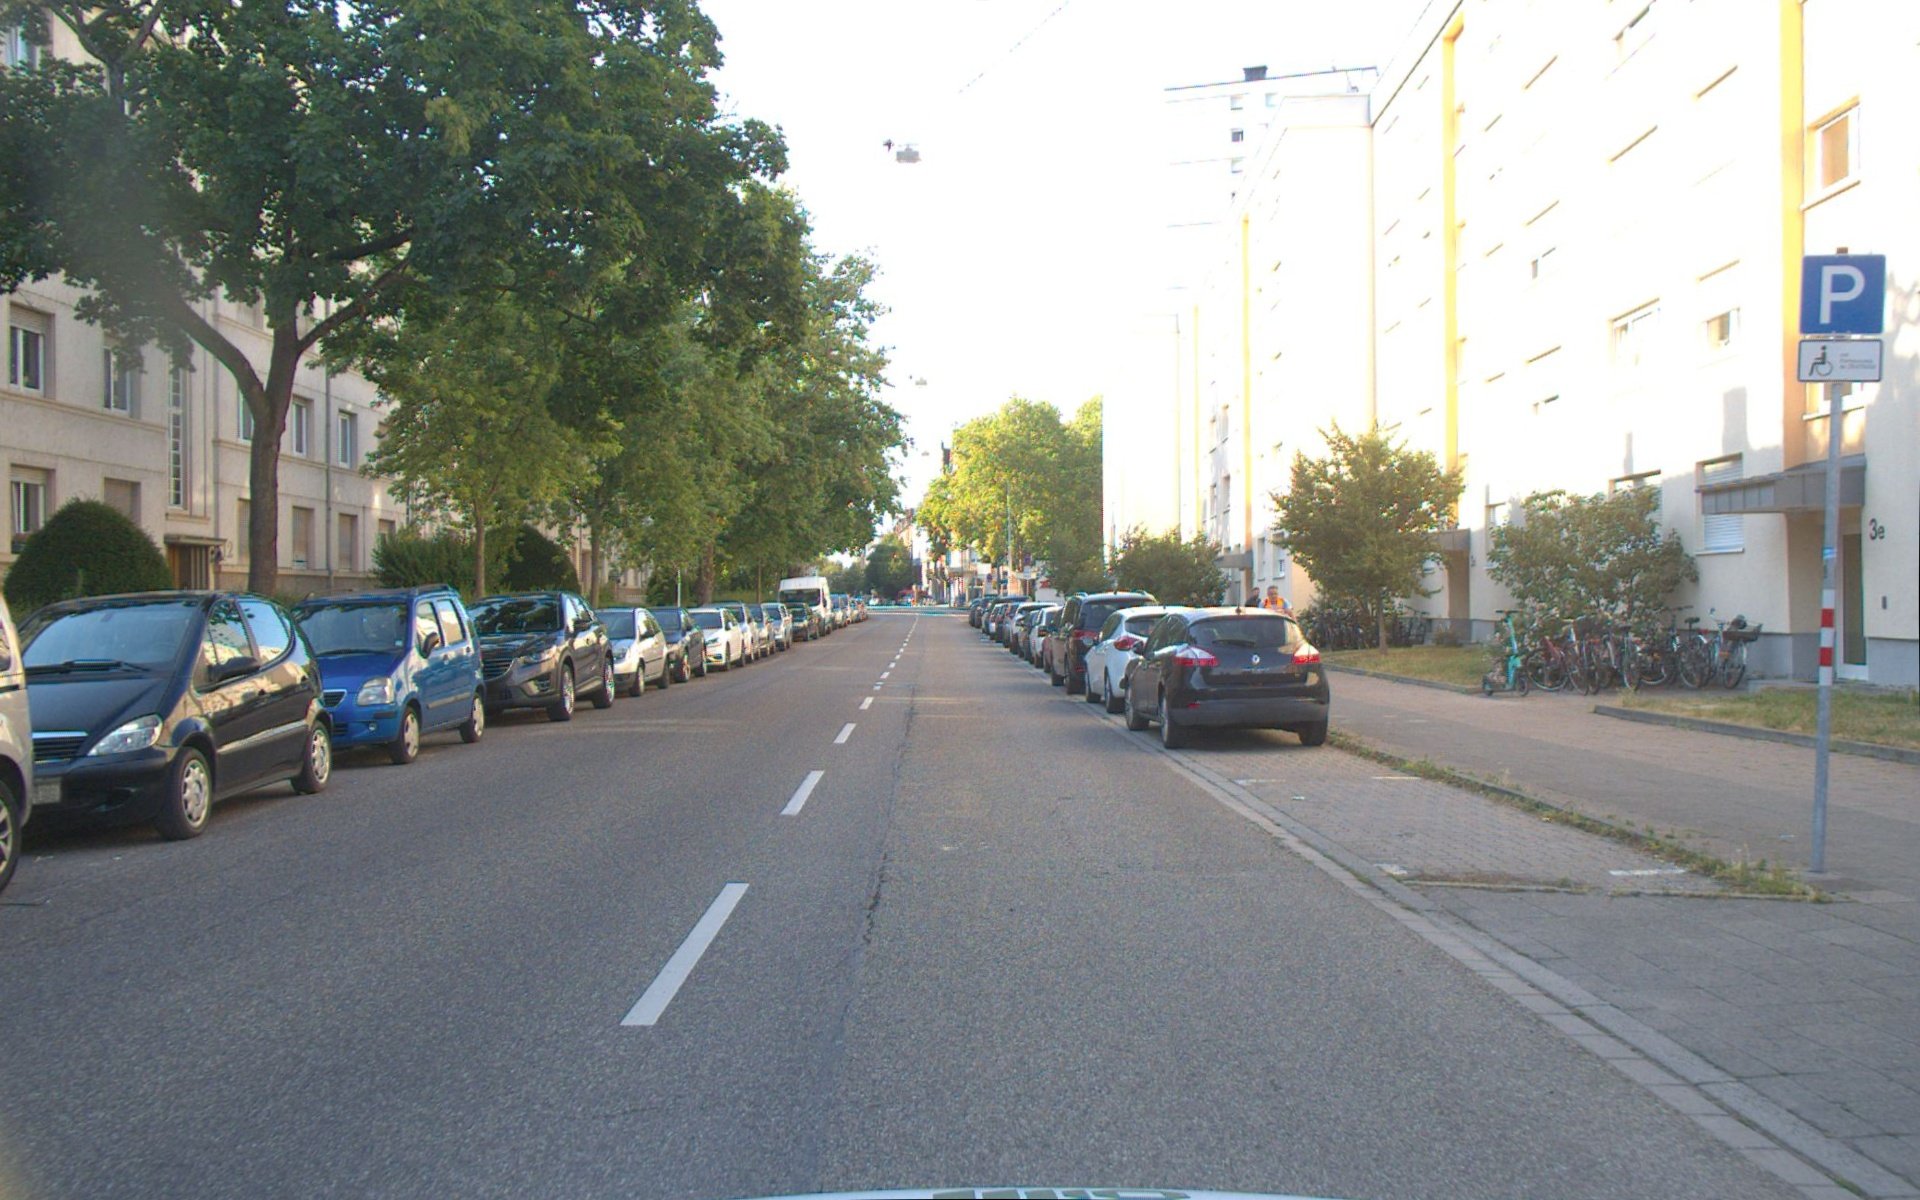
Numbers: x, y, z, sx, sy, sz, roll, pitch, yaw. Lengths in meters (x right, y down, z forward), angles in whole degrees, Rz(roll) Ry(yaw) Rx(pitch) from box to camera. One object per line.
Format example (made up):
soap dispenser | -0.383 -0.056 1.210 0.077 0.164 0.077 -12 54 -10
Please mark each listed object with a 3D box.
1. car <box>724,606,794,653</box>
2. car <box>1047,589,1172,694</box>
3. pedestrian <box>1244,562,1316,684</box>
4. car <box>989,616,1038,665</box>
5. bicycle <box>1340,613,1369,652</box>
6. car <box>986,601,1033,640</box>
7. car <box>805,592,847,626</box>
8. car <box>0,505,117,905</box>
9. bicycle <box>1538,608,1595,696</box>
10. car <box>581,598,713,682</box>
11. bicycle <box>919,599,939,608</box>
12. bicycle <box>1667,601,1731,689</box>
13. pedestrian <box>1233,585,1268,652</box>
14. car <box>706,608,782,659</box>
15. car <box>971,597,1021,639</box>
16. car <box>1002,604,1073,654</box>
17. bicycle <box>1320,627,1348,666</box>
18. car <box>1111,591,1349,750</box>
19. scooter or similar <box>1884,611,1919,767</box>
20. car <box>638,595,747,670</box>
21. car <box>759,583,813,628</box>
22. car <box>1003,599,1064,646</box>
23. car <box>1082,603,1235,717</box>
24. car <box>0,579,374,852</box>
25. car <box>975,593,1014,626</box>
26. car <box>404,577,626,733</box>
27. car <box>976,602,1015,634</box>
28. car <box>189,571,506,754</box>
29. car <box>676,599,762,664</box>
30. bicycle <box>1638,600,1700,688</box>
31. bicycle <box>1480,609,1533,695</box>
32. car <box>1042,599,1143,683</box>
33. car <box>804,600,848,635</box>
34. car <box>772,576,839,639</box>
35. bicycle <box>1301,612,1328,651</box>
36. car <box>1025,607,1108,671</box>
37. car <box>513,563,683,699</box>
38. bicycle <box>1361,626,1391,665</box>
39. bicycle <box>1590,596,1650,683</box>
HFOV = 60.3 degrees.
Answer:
car | -6.444 0.954 53.460 1.836 1.379 4.650 2 -1 -3
car | 2.644 0.735 30.200 1.735 1.707 4.645 2 -1 -1
pedestrian | 5.270 0.381 27.299 0.870 1.924 1.279 2 -1 -1
car | 2.046 1.564 64.304 1.799 1.803 3.978 1 -1 1
bicycle | 10.093 0.840 42.374 0.428 0.958 1.792 2 -1 5
car | 2.033 0.864 68.964 1.799 1.528 4.172 2 -1 0
car | -7.000 0.435 86.735 1.833 1.585 5.055 -4 0 -1
car | -5.545 0.525 6.782 1.804 1.929 4.486 -3 -1 0
bicycle | 8.686 0.739 23.703 0.326 1.213 1.240 2 -1 -1
car | -6.052 0.769 32.462 1.836 1.459 4.801 2 -1 -3
bicycle | -4.389 0.480 235.894 2.750 1.225 0.509 2 -1 -8
bicycle | 10.557 0.631 23.651 0.326 1.213 1.240 2 -1 -1
pedestrian | 7.457 0.475 42.441 0.750 1.687 0.536 -2 -1 -1
car | -6.294 0.983 48.561 1.836 1.379 3.997 2 -1 -3
car | 1.569 0.821 74.152 1.983 1.780 4.765 2 -1 -1
car | 2.405 0.908 52.406 1.836 1.468 3.997 2 -1 -3
bicycle | 9.569 1.181 42.395 0.428 0.958 1.792 2 -1 5
car | 2.986 0.761 19.296 1.763 1.533 4.619 -3 -1 -3
scooter or similar | 7.659 0.697 12.770 0.326 1.213 1.240 2 -1 -1
car | -6.152 0.754 38.488 1.964 1.579 4.469 2 -1 -3
car | -6.654 0.232 63.629 1.672 1.601 3.818 2 -1 -1
car | 2.588 0.804 59.105 1.922 1.633 4.278 0 -1 -1
car | 2.875 0.854 24.727 1.735 1.534 3.999 -1 -1 -1
car | -5.746 0.731 11.783 1.836 1.579 3.997 -2 -1 -3
car | 1.883 0.504 91.565 1.859 1.680 4.341 -2 0 -2
car | -5.738 0.682 21.939 1.836 1.790 4.687 -2 -1 -3
car | 1.683 0.902 79.968 1.645 1.440 4.722 2 -1 -1
car | -6.022 0.593 16.802 1.836 1.579 3.997 2 -1 -3
car | -6.337 0.829 43.910 1.836 1.579 3.997 2 -1 -3
bicycle | 10.160 0.628 23.732 0.326 1.213 1.240 2 -1 -1
bicycle | 7.979 0.753 24.188 0.326 1.213 1.240 2 -1 -1
car | 2.784 0.860 35.439 1.735 1.645 3.999 2 -1 -1
car | -6.476 0.847 80.319 1.833 1.586 4.364 2 -1 -1
car | -6.551 0.349 70.745 2.310 2.488 6.163 2 -1 -1
bicycle | 9.086 0.809 42.465 0.428 0.958 1.792 2 -1 5
car | 2.660 0.970 42.154 1.736 1.479 3.999 -2 -1 -1
car | -5.983 0.518 27.784 1.953 2.049 3.999 -2 -1 -1
bicycle | 10.646 1.147 42.314 0.428 0.958 1.792 2 -1 5
bicycle | 9.487 0.560 23.806 0.326 1.213 1.240 2 -1 -1
